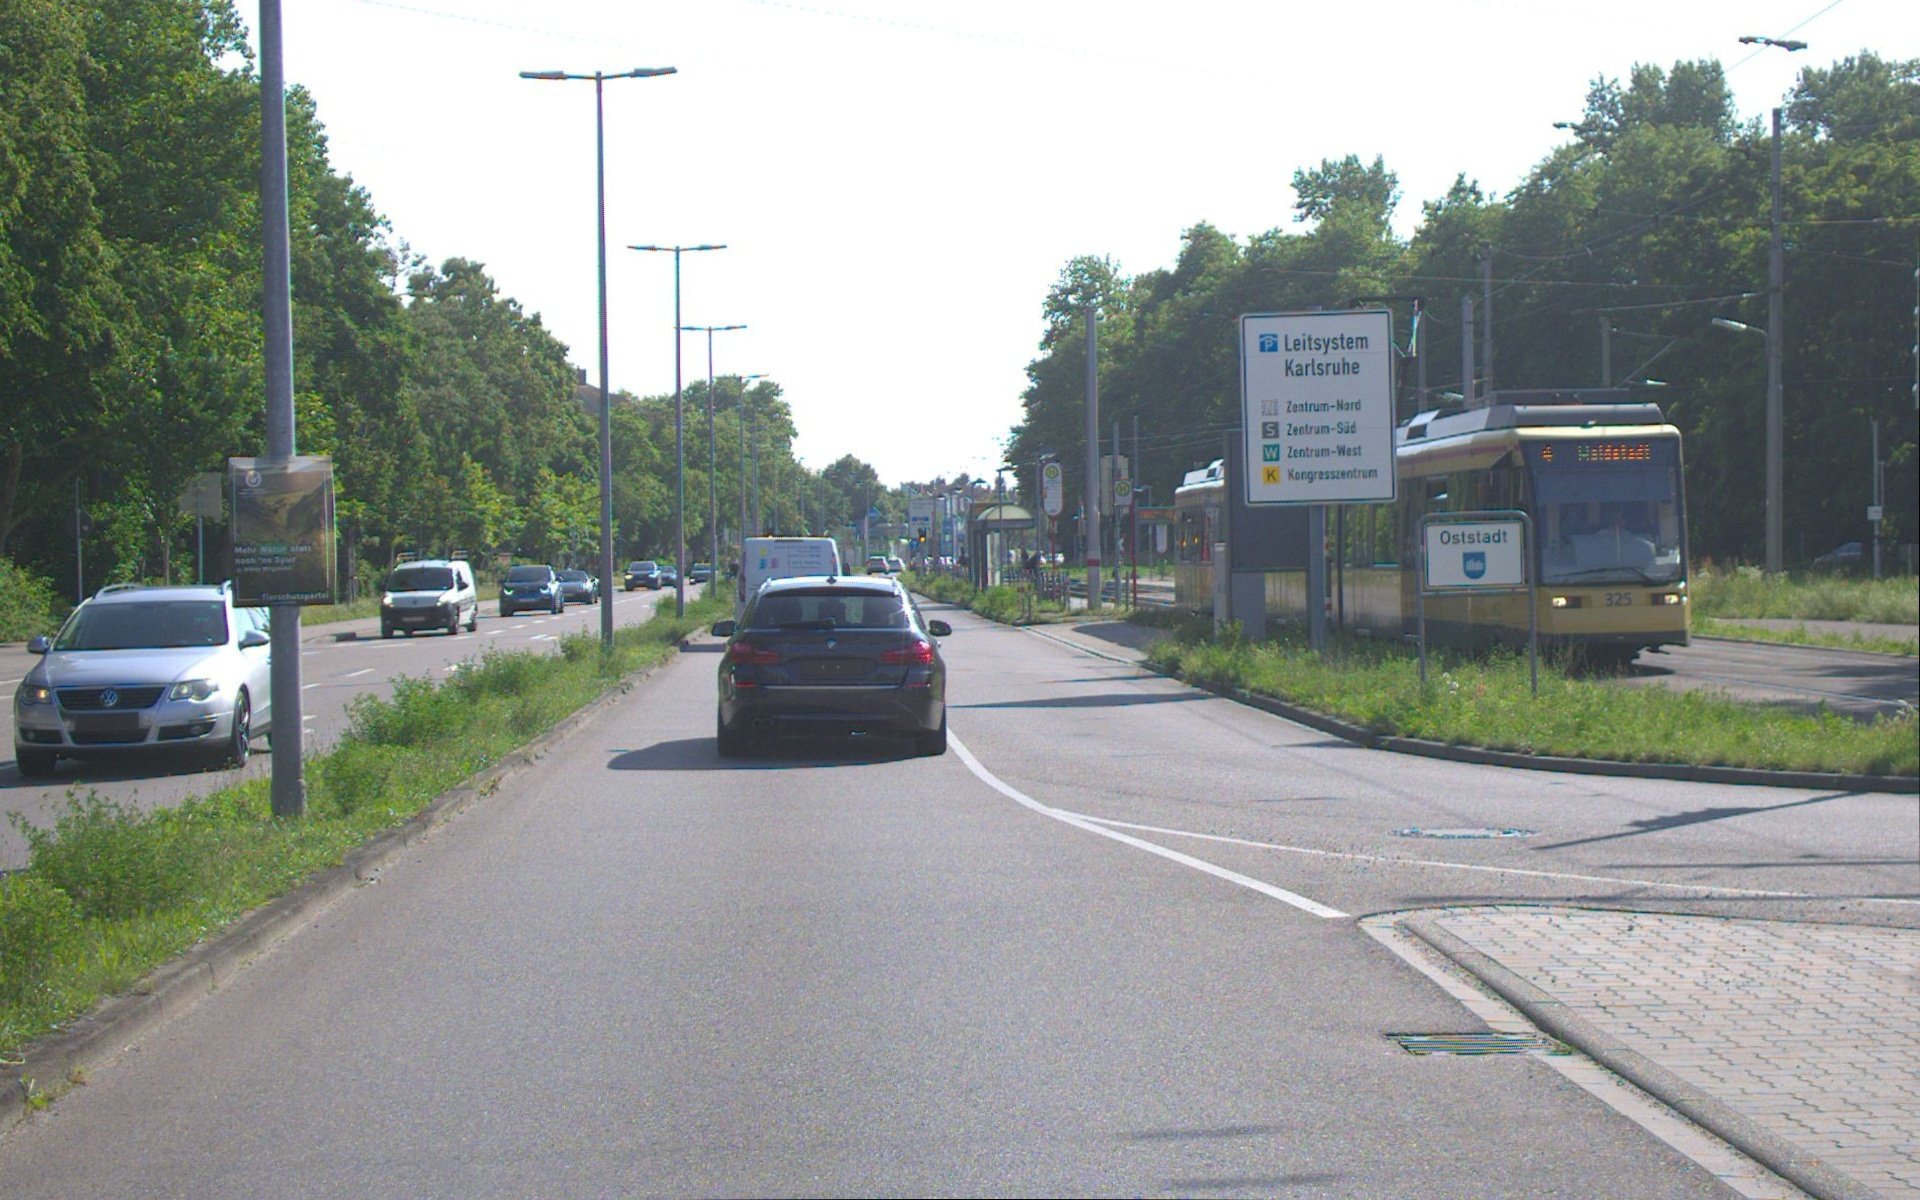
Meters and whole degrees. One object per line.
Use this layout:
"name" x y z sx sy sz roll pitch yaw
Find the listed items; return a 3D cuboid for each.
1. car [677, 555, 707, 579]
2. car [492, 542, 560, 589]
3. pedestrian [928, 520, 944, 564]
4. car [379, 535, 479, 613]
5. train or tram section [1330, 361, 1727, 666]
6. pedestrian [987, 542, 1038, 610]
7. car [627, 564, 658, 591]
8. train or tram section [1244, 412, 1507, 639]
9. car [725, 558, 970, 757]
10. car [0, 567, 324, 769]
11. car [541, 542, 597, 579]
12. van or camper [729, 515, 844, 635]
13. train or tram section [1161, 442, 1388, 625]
"car" -18.239 -2.246 234.091 1.849 1.546 4.001 -1 1 -3
"car" -13.776 -1.116 109.327 1.788 1.410 4.387 -1 1 -3
"pedestrian" -1.130 -2.679 159.172 0.698 2.007 0.702 0 1 -3
"car" -12.548 -0.637 81.431 1.788 1.766 4.570 -1 1 -2
"train or tram section" 7.449 -1.091 47.250 2.796 3.606 12.957 0 1 -2
"pedestrian" 1.277 -0.592 83.117 1.000 1.629 0.720 0 1 31
"car" -17.699 -1.263 191.658 1.533 1.481 4.001 -1 1 -3
"train or tram section" 6.964 -1.229 59.354 2.750 3.542 11.258 0 1 -2
"car" -0.942 0.427 29.074 1.903 1.500 4.065 -1 1 -2
"car" -6.626 0.502 28.737 1.848 1.472 4.646 -1 1 -1
"car" -14.727 -1.492 129.637 1.788 1.323 4.737 -1 1 -3
"van or camper" -3.143 -0.491 62.697 1.993 2.089 4.599 -1 1 -2
"train or tram section" 6.385 -1.334 72.463 2.684 3.469 14.971 0 1 -3
